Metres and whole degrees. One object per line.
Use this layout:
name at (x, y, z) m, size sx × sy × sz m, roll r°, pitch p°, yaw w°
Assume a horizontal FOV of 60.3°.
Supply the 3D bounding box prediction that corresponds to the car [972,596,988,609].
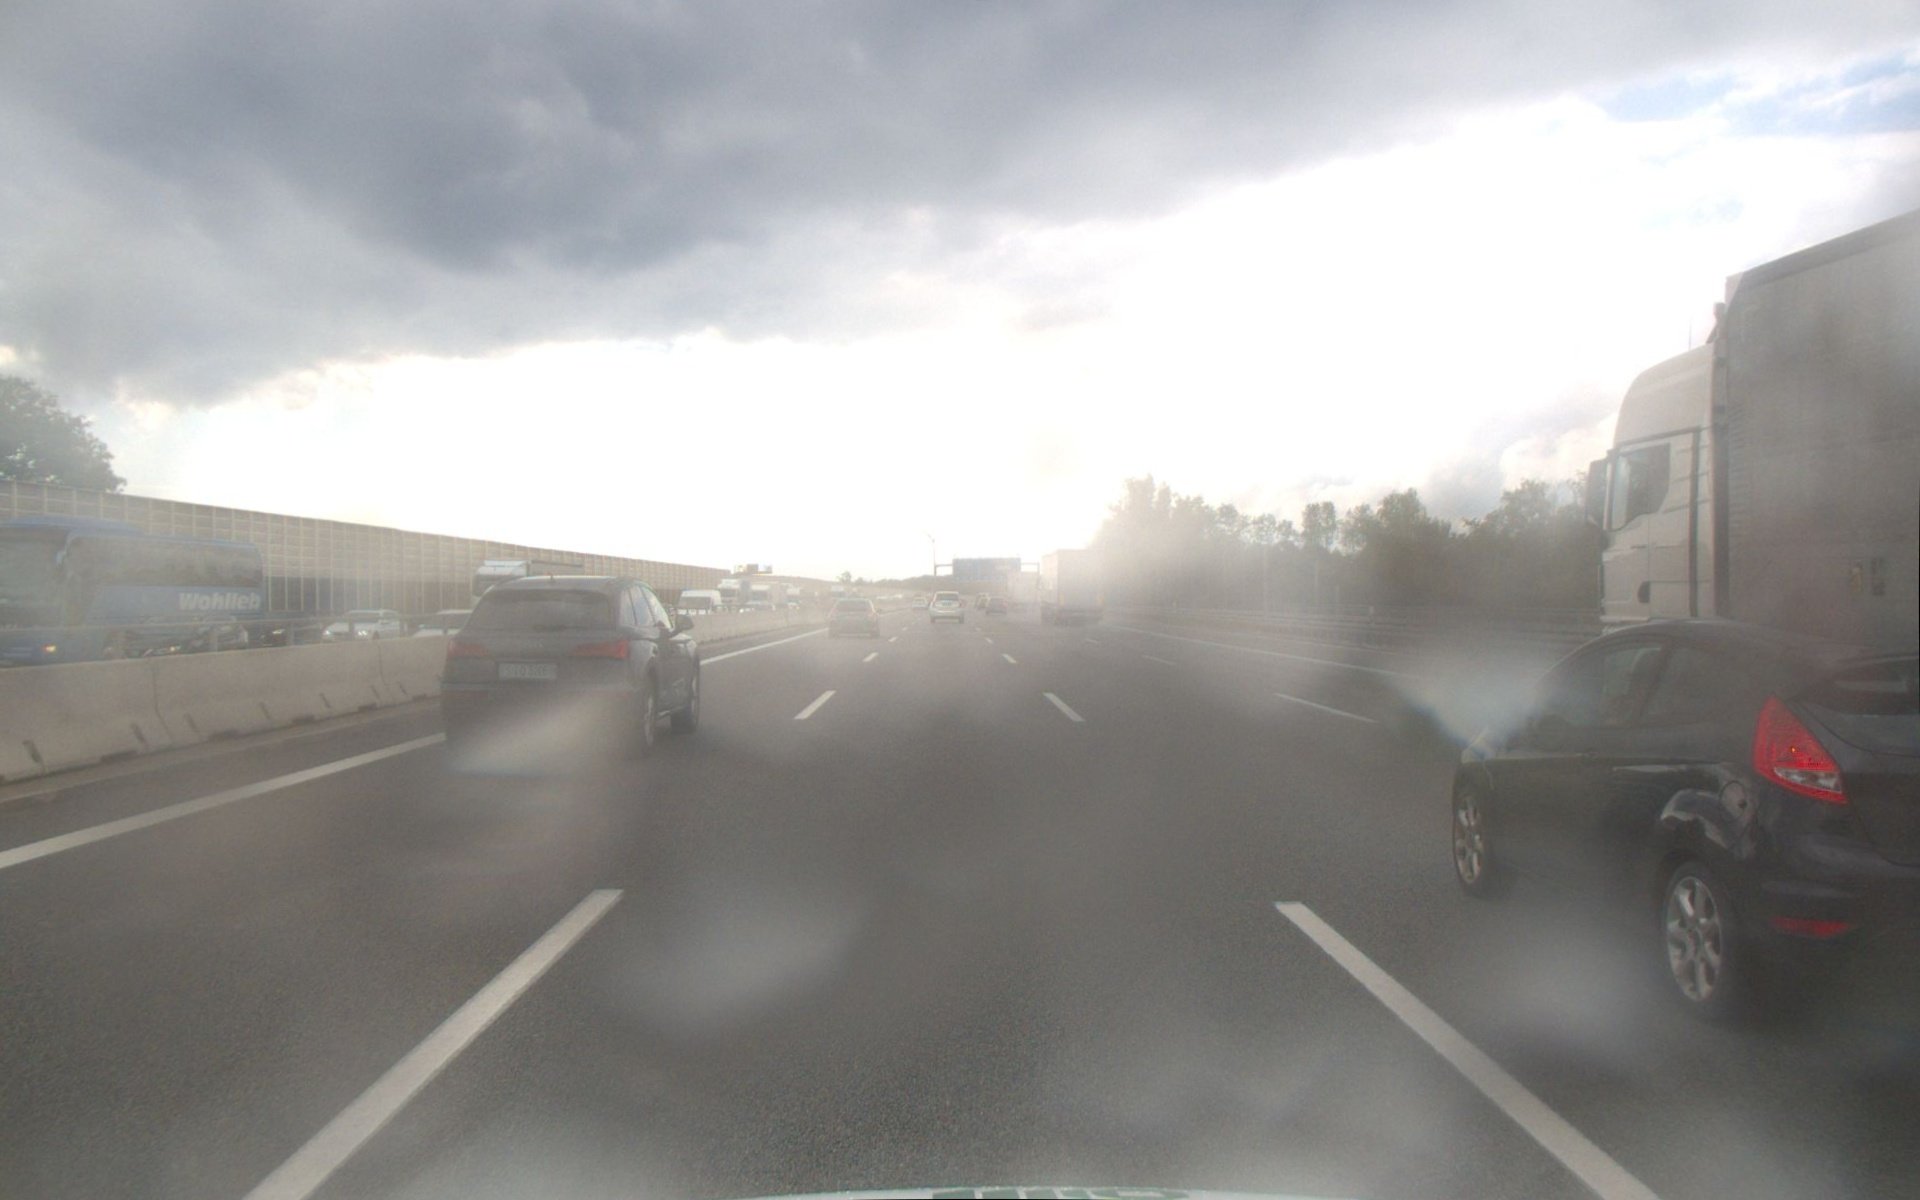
car at (2.408, 0.298, 199.842) m, size 1.799 × 1.466 × 4.054 m, roll 0°, pitch 1°, yaw -2°

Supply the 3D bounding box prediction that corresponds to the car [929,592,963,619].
car at (-0.829, 0.319, 94.875) m, size 1.737 × 1.466 × 4.053 m, roll 0°, pitch 1°, yaw -3°

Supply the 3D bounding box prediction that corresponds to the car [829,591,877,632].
car at (-3.968, 0.412, 61.554) m, size 1.726 × 1.393 × 5.057 m, roll 0°, pitch 1°, yaw -3°

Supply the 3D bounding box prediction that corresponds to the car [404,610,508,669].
car at (-14.454, 1.111, 47.654) m, size 1.712 × 1.552 × 4.177 m, roll 0°, pitch 0°, yaw 0°

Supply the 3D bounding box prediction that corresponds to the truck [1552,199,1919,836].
truck at (7.550, -0.564, 13.542) m, size 2.901 × 4.090 × 6.587 m, roll 0°, pitch 1°, yaw -1°

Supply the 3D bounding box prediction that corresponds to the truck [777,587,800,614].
truck at (-22.851, 0.008, 220.663) m, size 2.274 × 3.406 × 8.352 m, roll 1°, pitch 0°, yaw 0°

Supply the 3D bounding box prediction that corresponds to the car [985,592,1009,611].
car at (3.104, 0.111, 140.474) m, size 1.799 × 1.466 × 4.054 m, roll 0°, pitch 1°, yaw -2°

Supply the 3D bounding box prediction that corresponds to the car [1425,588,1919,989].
car at (3.354, 0.688, 7.701) m, size 1.417 × 1.466 × 3.163 m, roll 0°, pitch 1°, yaw -2°

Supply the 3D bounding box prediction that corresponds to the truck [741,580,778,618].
truck at (-21.831, -0.150, 180.774) m, size 3.016 × 4.003 × 8.053 m, roll 1°, pitch 0°, yaw 0°

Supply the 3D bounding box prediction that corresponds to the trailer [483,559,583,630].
trailer at (-25.891, -0.361, 101.091) m, size 2.510 × 4.003 × 13.815 m, roll 1°, pitch 1°, yaw 0°

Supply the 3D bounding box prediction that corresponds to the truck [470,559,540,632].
truck at (-25.847, -0.296, 94.172) m, size 2.524 × 4.003 × 5.176 m, roll 1°, pitch 0°, yaw 0°

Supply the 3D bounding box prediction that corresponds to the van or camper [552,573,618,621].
van or camper at (-22.053, -0.208, 97.487) m, size 2.296 × 2.687 × 7.149 m, roll 0°, pitch 0°, yaw 0°

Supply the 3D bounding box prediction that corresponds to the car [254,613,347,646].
car at (-25.439, 1.118, 63.956) m, size 1.844 × 1.133 × 4.493 m, roll 0°, pitch 0°, yaw 0°

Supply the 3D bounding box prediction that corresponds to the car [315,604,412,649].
car at (-21.878, 0.940, 60.869) m, size 1.844 × 1.552 × 4.820 m, roll 0°, pitch 0°, yaw 0°

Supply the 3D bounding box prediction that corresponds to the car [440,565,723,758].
car at (-3.741, 0.547, 17.327) m, size 1.870 × 1.721 × 5.167 m, roll 0°, pitch 0°, yaw -1°

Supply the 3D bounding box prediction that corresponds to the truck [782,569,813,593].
truck at (-24.532, -2.882, 250.493) m, size 3.200 × 3.410 × 16.083 m, roll 1°, pitch 1°, yaw 0°

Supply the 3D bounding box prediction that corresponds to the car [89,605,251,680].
car at (-18.002, 0.930, 37.914) m, size 1.712 × 1.552 × 4.177 m, roll 0°, pitch 0°, yaw 0°

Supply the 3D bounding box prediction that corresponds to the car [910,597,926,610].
car at (-4.811, 0.377, 189.442) m, size 1.737 × 1.466 × 3.871 m, roll 0°, pitch 1°, yaw -3°

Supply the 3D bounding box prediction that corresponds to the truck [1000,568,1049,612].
truck at (6.536, -1.032, 169.724) m, size 4.158 × 4.249 × 11.985 m, roll 1°, pitch 0°, yaw -2°

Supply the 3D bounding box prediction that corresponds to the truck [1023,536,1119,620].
truck at (6.131, -1.226, 93.870) m, size 4.096 × 4.363 × 12.608 m, roll 1°, pitch 1°, yaw -2°

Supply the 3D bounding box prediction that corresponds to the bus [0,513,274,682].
bus at (-21.950, -0.109, 43.367) m, size 3.029 × 3.824 × 11.880 m, roll 0°, pitch 0°, yaw 0°

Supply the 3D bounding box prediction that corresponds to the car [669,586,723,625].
car at (-14.885, 0.257, 93.489) m, size 2.115 × 2.107 × 6.014 m, roll 0°, pitch 0°, yaw 0°

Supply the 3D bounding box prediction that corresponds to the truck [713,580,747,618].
truck at (-26.626, -0.155, 191.820) m, size 2.655 × 4.146 × 8.914 m, roll 1°, pitch 0°, yaw 0°

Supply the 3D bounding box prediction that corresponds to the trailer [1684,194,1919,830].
trailer at (7.703, -0.502, 6.863) m, size 2.901 × 4.090 × 14.115 m, roll 0°, pitch 1°, yaw -1°

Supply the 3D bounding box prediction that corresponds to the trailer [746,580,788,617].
trailer at (-21.868, -0.223, 188.491) m, size 3.016 × 4.003 × 14.981 m, roll 1°, pitch 1°, yaw 0°

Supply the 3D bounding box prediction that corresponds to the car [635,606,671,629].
car at (-22.754, 1.278, 122.737) m, size 1.884 × 1.627 × 4.252 m, roll 0°, pitch 0°, yaw 0°
